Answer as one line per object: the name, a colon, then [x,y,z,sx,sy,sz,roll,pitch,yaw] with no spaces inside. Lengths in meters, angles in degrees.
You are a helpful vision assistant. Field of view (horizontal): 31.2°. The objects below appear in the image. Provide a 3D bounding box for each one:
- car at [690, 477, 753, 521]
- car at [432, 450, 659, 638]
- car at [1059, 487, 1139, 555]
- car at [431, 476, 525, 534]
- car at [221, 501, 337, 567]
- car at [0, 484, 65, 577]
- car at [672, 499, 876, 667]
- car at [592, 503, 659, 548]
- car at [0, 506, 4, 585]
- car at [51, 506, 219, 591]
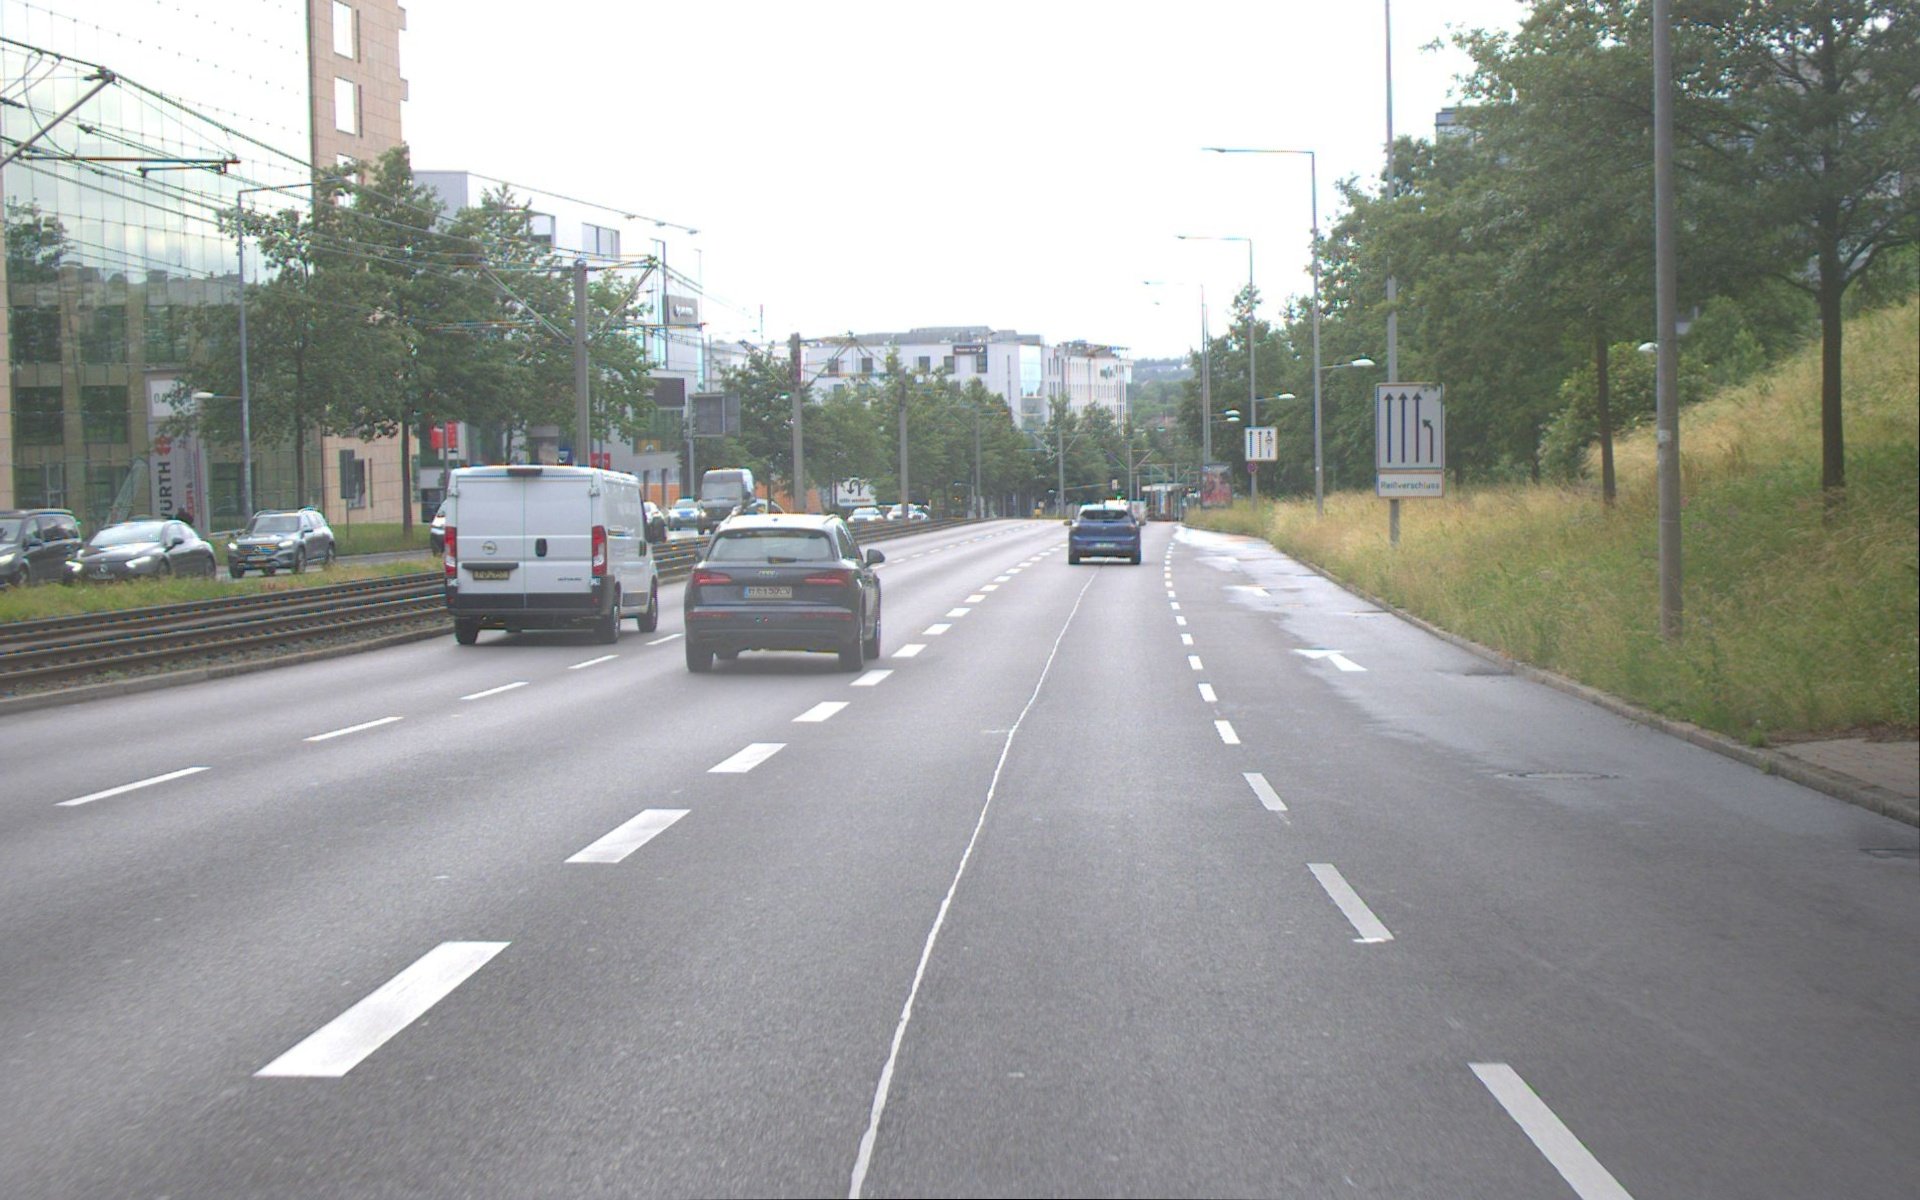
car: [-9.768,-4.156,141.246,1.938,1.755,4.809,1,2,4]
car: [-5.280,-0.774,44.413,2.268,2.277,4.760,1,2,1]
car: [3.398,-1.954,84.637,1.789,1.585,4.000,-1,1,1]
car: [-15.222,-3.030,108.755,1.938,1.755,5.062,1,2,4]
car: [-17.495,-1.717,88.474,1.810,1.600,4.491,1,2,4]
car: [-21.299,-1.527,74.693,2.059,1.945,5.132,1,2,4]
car: [-1.955,-0.191,37.231,1.922,1.705,4.098,1,0,1]
car: [-13.626,-3.062,140.179,1.938,1.755,4.809,1,2,4]
car: [-19.665,-0.996,64.899,1.810,1.528,4.275,1,2,4]
car: [-15.991,-1.032,66.895,1.810,1.528,4.869,1,2,4]
